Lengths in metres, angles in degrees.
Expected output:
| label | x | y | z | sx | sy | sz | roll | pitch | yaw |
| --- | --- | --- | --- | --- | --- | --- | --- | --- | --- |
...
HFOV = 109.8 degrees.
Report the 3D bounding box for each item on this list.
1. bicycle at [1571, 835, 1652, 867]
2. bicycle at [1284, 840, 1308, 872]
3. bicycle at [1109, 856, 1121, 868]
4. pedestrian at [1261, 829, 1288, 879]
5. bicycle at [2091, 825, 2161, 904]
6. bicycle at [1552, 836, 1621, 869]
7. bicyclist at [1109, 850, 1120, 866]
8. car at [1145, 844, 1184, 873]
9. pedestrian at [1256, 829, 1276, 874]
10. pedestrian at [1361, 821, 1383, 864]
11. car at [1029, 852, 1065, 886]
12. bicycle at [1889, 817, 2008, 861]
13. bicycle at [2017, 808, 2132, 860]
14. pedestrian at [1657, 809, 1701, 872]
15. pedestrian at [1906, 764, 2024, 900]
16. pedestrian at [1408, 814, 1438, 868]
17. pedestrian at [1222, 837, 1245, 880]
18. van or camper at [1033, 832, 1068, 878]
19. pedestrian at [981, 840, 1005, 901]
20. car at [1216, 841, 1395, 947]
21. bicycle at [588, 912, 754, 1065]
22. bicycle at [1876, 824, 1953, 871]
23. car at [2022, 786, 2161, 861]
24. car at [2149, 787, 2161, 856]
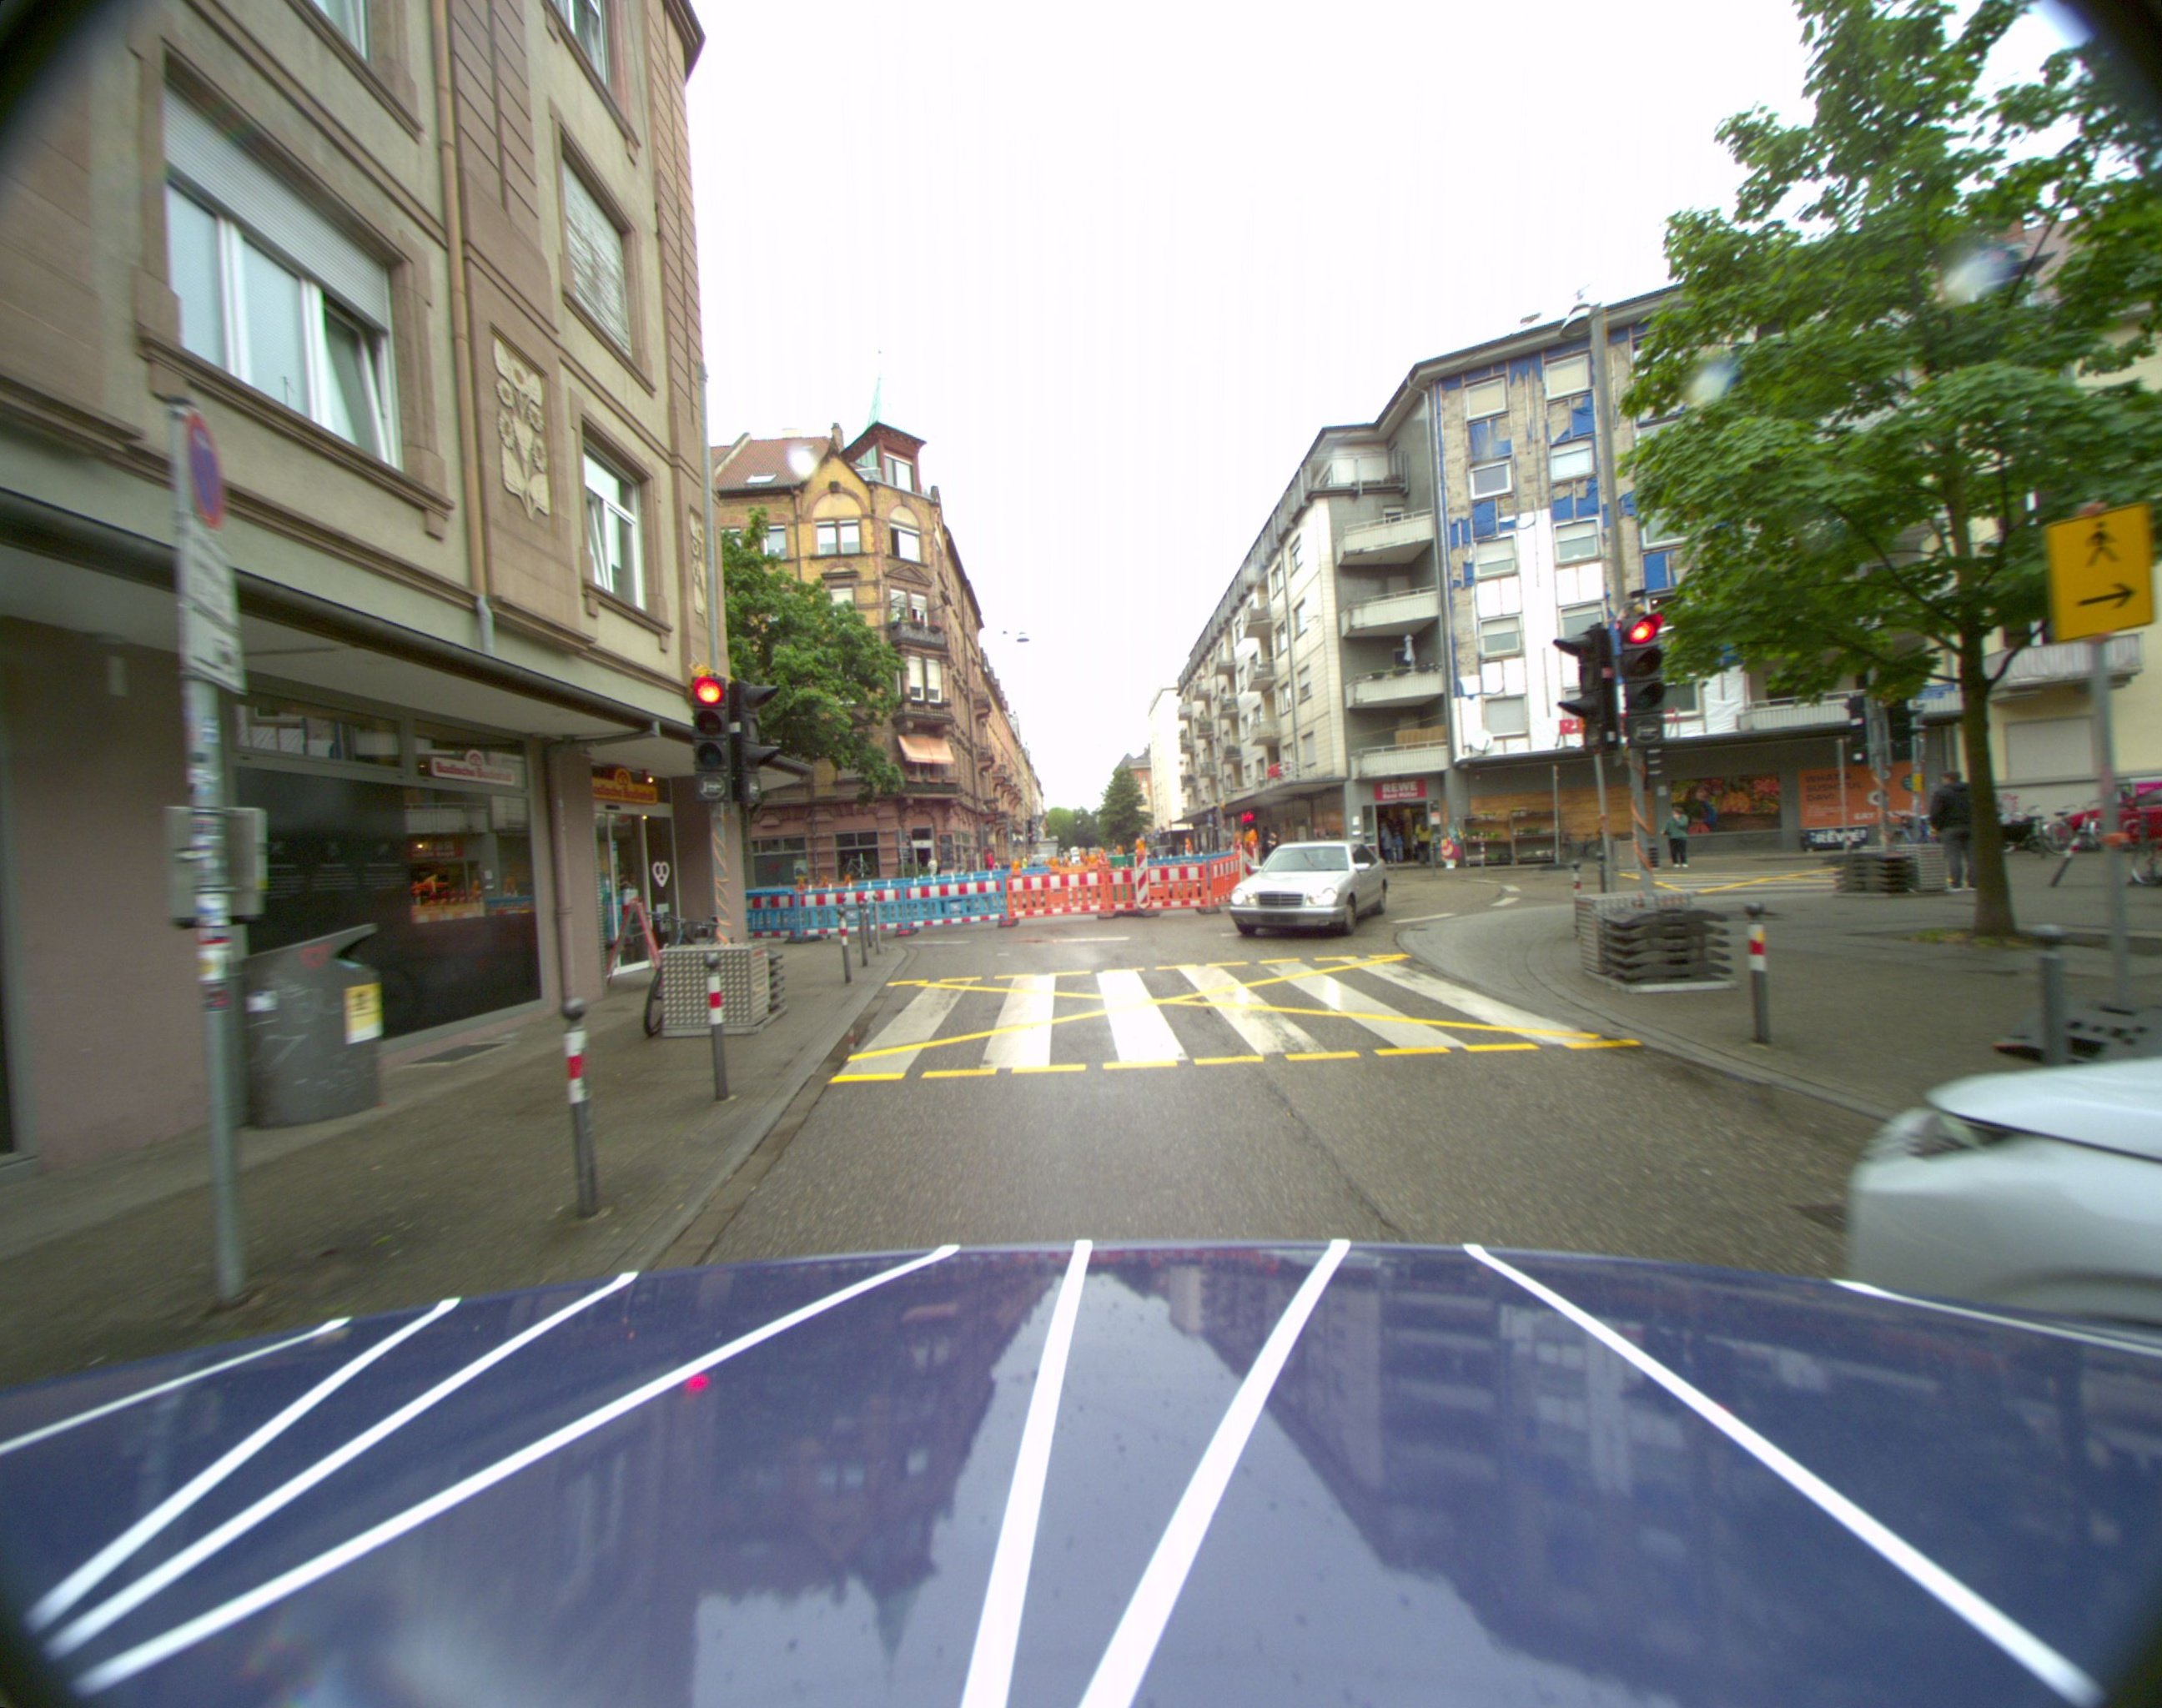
| label | x | y | z | sx | sy | sz | roll | pitch | yaw |
| --- | --- | --- | --- | --- | --- | --- | --- | --- | --- |
| bicycle | 16.818 | -0.094 | 24.125 | 0.590 | 0.966 | 1.996 | -4 | 2 | -35 |
| bicycle | 9.824 | 0.103 | 34.767 | 0.450 | 1.366 | 2.024 | -6 | 0 | 1 |
| bicycle | 3.544 | 0.816 | 79.640 | 0.993 | 1.149 | 2.876 | -4 | 0 | -2 |
| pedestrian | 7.599 | 0.000 | 29.806 | 0.717 | 1.886 | 0.606 | -3 | 2 | 35 |
| bicycle | 15.444 | 0.109 | 10.722 | 0.864 | 1.038 | 2.418 | -3 | -1 | 40 |
| bicycle | 15.945 | -0.038 | 23.999 | 0.569 | 0.965 | 1.688 | -4 | 0 | -35 |
| bicyclist | 3.521 | 0.393 | 79.632 | 0.993 | 1.591 | 1.262 | -4 | 0 | -2 |
| car | 5.808 | 0.320 | 53.242 | 1.902 | 1.779 | 3.998 | -4 | 0 | -5 |
| pedestrian | 7.794 | -0.096 | 32.047 | 0.604 | 1.837 | 0.770 | -4 | 0 | 8 |
| pedestrian | 11.065 | -0.448 | 28.891 | 0.544 | 1.575 | 0.695 | -3 | 2 | 35 |
| car | -2.049 | 0.837 | 44.661 | 1.902 | 1.779 | 3.998 | -4 | 0 | -5 |
| bicycle | 22.374 | -0.376 | 19.629 | 1.998 | 0.966 | 0.590 | -4 | 2 | 16 |
| bicycle | 22.202 | -0.445 | 16.986 | 2.001 | 0.966 | 0.589 | -5 | 2 | -6 |
| pedestrian | 15.902 | -0.370 | 20.215 | 0.797 | 1.606 | 0.606 | -4 | 2 | 35 |
| pedestrian | 13.810 | -0.328 | 11.912 | 0.942 | 2.002 | 0.865 | -4 | 1 | 35 |
| pedestrian | 12.271 | -0.456 | 27.223 | 0.692 | 1.758 | 0.865 | -3 | 10 | 35 |
| pedestrian | 6.693 | 0.199 | 33.366 | 0.862 | 1.837 | 0.770 | -4 | 0 | 8 |
| van or camper | -2.414 | 0.089 | 60.153 | 2.411 | 3.308 | 7.072 | -4 | 0 | -2 |
| pedestrian | -3.810 | 0.710 | 33.029 | 0.696 | 2.594 | 0.539 | -5 | 1 | -32 |
| car | 4.123 | 0.563 | 13.251 | 1.856 | 1.390 | 4.988 | -3 | 1 | 30 |
| bicycle | -3.910 | 1.219 | 7.448 | 0.625 | 1.121 | 1.937 | -3 | 0 | -4 |
| bicycle | 19.672 | -0.172 | 17.984 | 0.588 | 0.966 | 2.004 | -4 | 2 | 29 |
| car | 25.028 | -0.740 | 17.073 | 1.999 | 1.671 | 4.456 | -4 | 0 | -6 |
| car | 27.351 | -0.873 | 16.452 | 1.999 | 1.661 | 4.456 | -4 | 0 | -6 |
